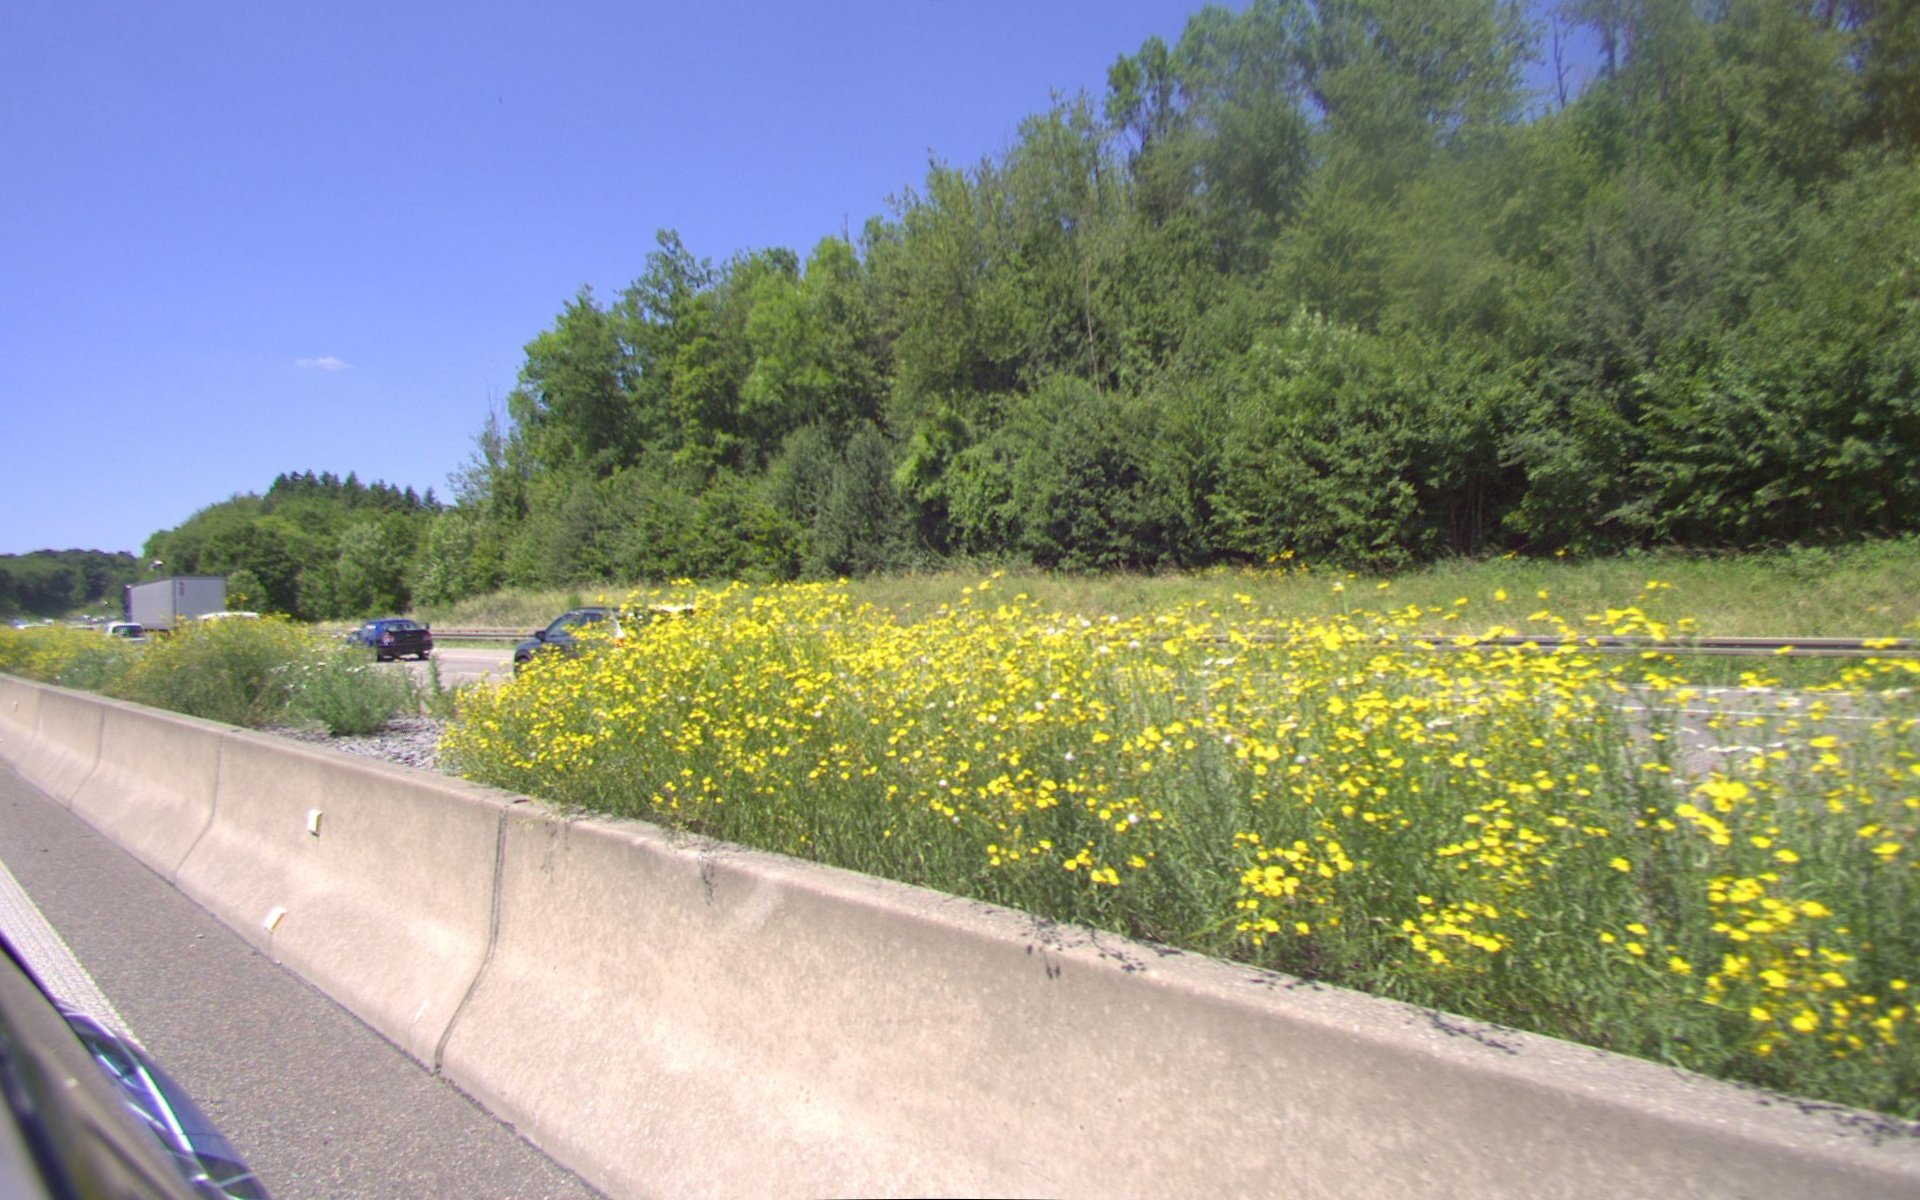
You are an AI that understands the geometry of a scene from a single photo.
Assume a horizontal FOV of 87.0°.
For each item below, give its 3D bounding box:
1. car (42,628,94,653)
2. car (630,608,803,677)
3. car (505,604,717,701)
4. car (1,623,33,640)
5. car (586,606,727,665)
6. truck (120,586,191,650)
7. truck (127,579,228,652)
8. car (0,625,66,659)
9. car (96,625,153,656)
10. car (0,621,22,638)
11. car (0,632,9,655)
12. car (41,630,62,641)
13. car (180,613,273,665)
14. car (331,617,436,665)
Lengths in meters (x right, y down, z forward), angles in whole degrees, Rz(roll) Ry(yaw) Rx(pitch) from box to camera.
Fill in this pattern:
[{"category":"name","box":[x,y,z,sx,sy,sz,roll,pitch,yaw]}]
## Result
[{"category":"car","box":[-56.883,2.579,64.499,4.246,1.509,1.973,-2,-1,42]},{"category":"car","box":[-5.736,0.956,23.587,4.005,1.455,1.973,-2,-1,41]},{"category":"car","box":[-6.551,0.916,18.796,4.062,1.584,1.973,-2,-1,41]},{"category":"car","box":[-95.938,3.237,102.970,4.473,1.640,1.972,-2,-1,42]},{"category":"car","box":[-9.508,1.084,31.537,4.765,1.705,1.973,-2,-1,41]},{"category":"truck","box":[-52.619,1.165,66.157,6.007,3.969,2.798,-2,-1,44]},{"category":"truck","box":[-47.618,1.003,61.348,13.747,3.968,2.798,-2,-1,44]},{"category":"car","box":[-44.877,1.988,48.918,4.656,1.514,1.918,-2,-1,41]},{"category":"car","box":[-42.389,2.040,51.318,3.881,1.509,1.658,-2,-1,42]},{"category":"car","box":[-152.493,4.744,162.657,6.063,2.722,2.191,-2,-1,43]},{"category":"car","box":[-60.179,2.708,62.342,4.246,1.351,1.973,-2,-1,42]},{"category":"car","box":[-126.934,4.986,141.370,4.000,1.464,1.820,-2,-1,43]},{"category":"car","box":[-27.017,1.411,37.232,4.275,1.768,1.865,-2,-1,41]},{"category":"car","box":[-20.063,1.397,35.135,3.998,1.503,1.973,-2,-1,41]}]
